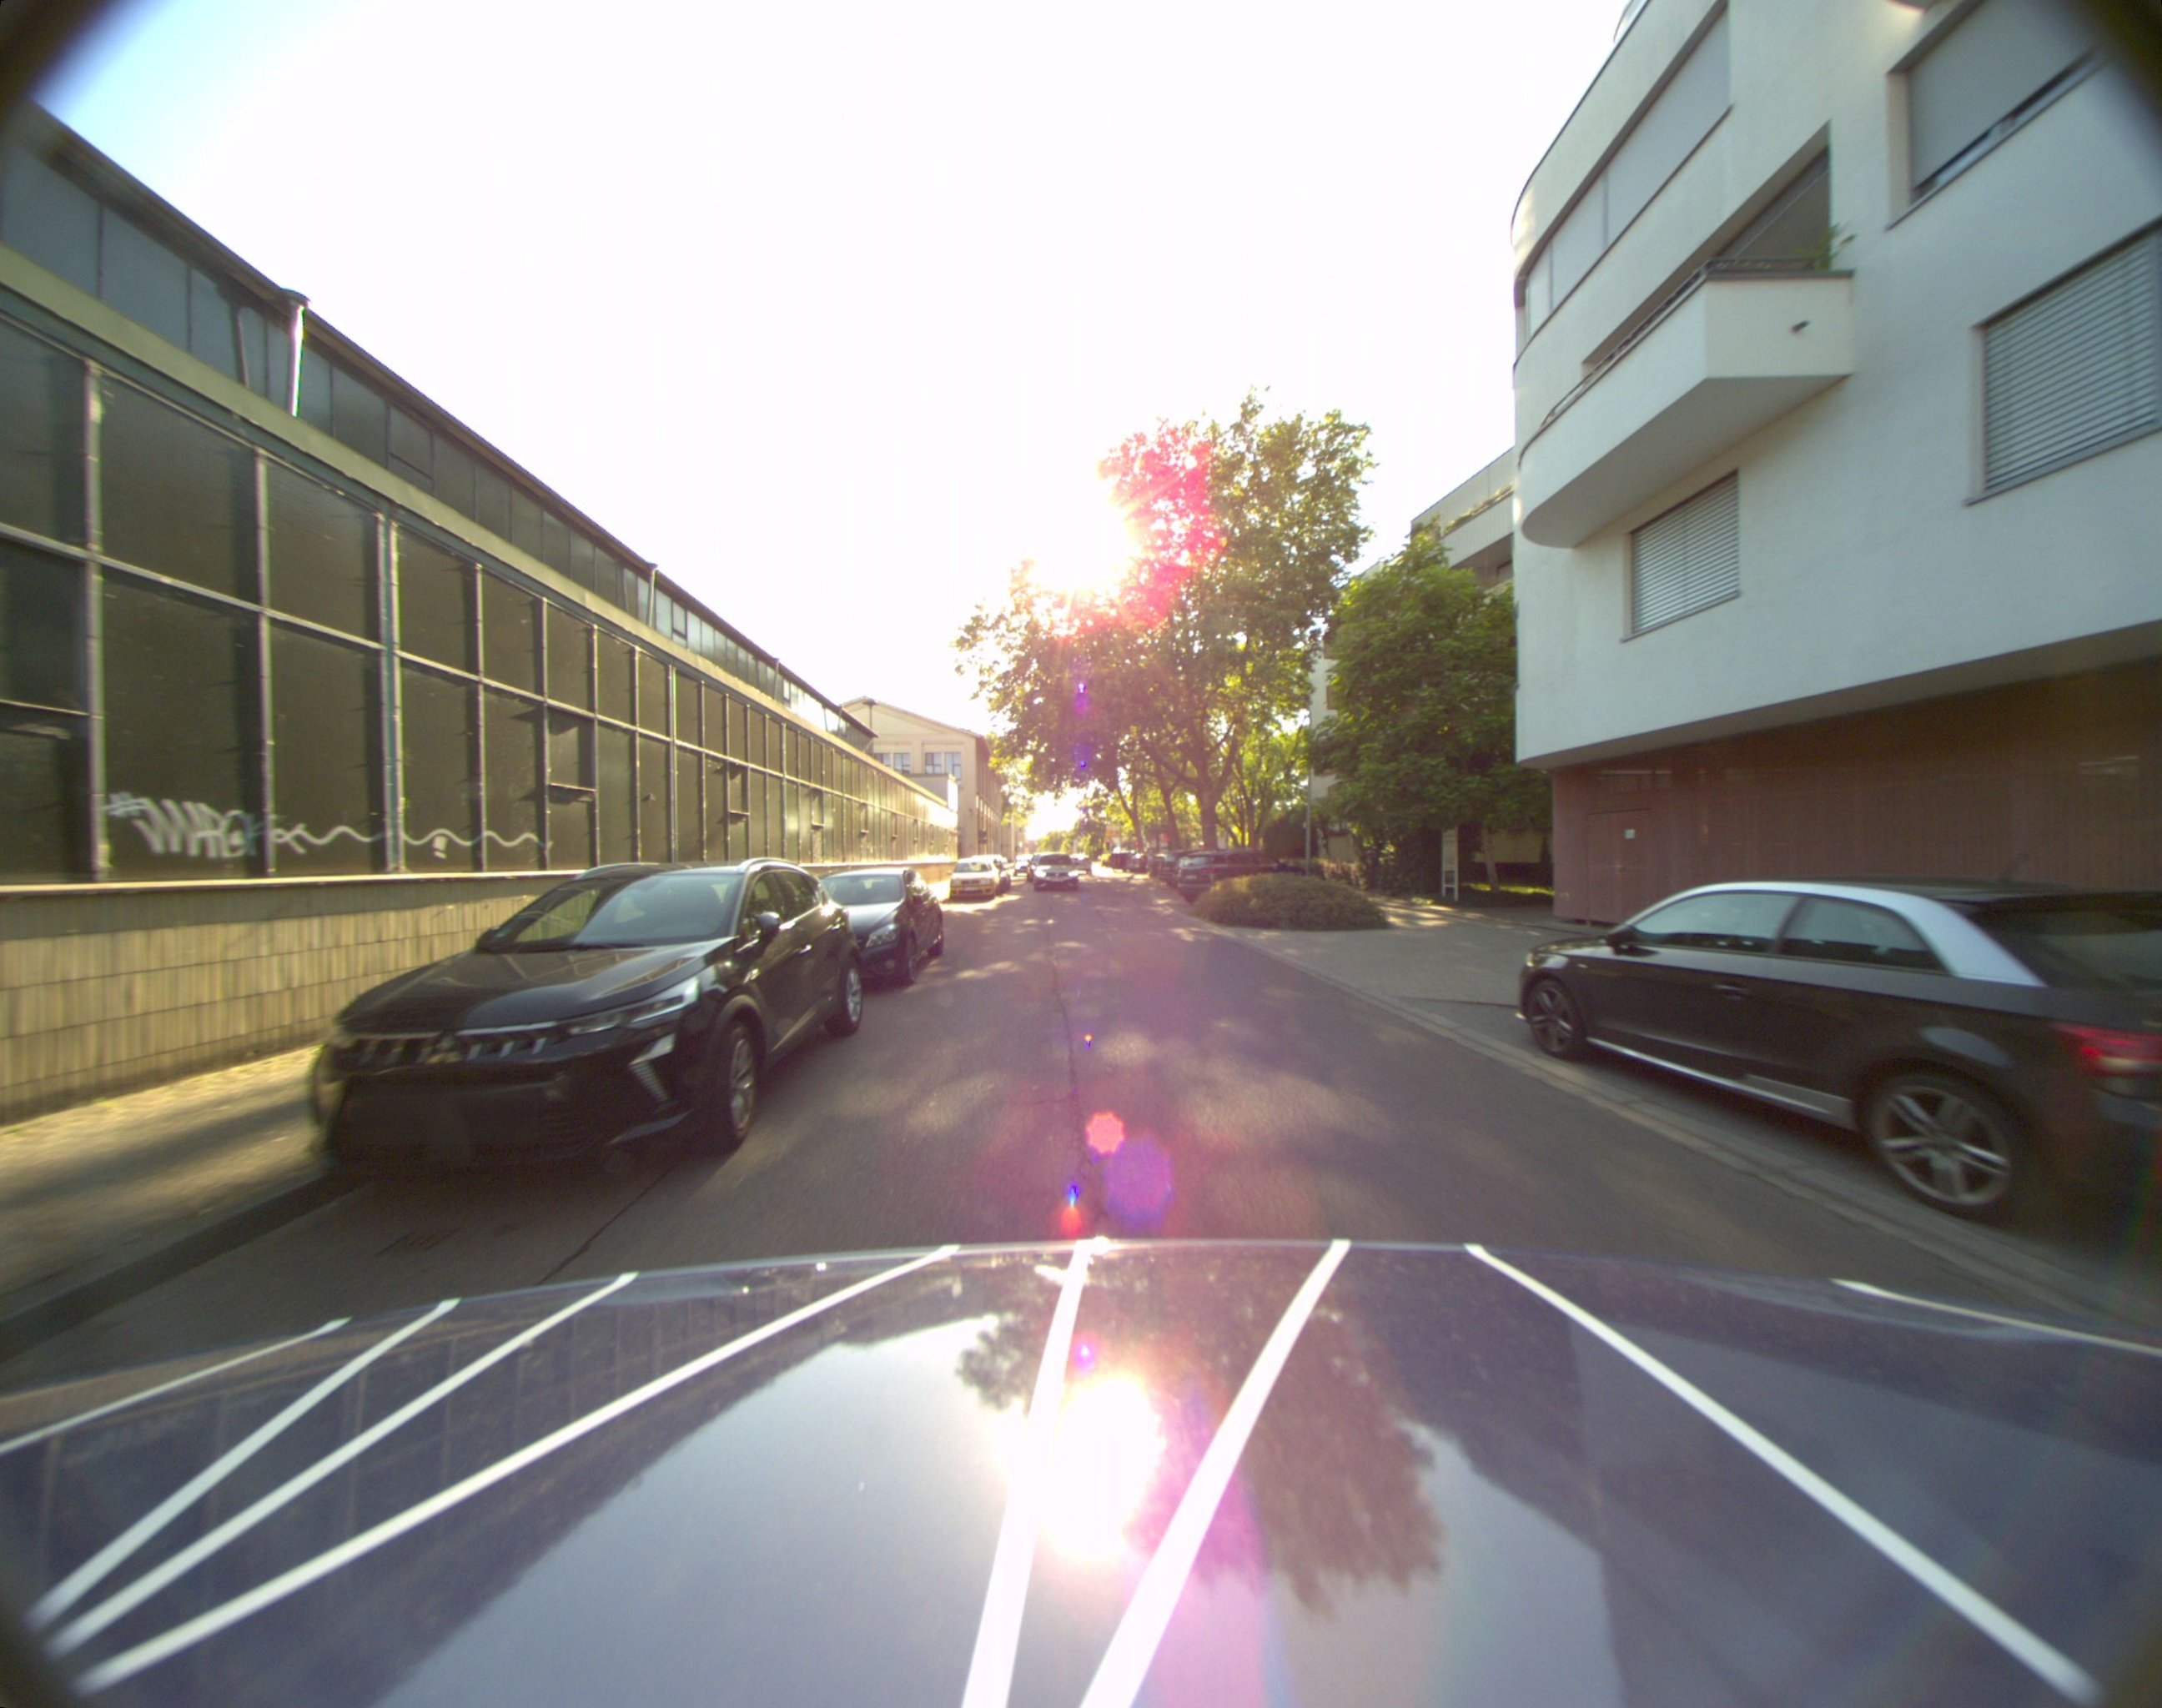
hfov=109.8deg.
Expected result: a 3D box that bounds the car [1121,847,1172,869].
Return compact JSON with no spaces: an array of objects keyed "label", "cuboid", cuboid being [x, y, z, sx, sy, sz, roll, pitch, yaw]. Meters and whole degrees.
[{"label":"car","cuboid":[5.739,0.349,66.358,4.003,1.871,1.831,-1,1,-19]}]

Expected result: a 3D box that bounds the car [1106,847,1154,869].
[{"label":"car","cuboid":[4.440,0.365,68.844,4.006,1.875,1.713,-1,1,-29]}]

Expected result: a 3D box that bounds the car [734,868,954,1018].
[{"label":"car","cuboid":[-2.978,1.016,10.643,1.755,1.482,4.620,-2,0,-2]}]

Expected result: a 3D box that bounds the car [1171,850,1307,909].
[{"label":"car","cuboid":[4.908,0.727,23.479,3.966,1.652,1.696,-1,1,-30]}]

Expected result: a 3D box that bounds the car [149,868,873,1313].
[{"label":"car","cuboid":[-2.828,0.962,5.214,1.812,1.578,4.403,-2,1,-4]}]

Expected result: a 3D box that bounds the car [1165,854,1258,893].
[{"label":"car","cuboid":[5.630,0.788,32.728,3.655,1.551,1.696,-1,1,-28]}]

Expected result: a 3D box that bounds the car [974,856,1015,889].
[{"label":"car","cuboid":[-4.323,0.882,38.388,1.905,1.484,4.526,-1,0,-5]}]

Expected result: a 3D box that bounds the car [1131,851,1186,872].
[{"label":"car","cuboid":[6.209,0.585,61.188,4.003,1.615,1.795,0,0,-17]}]

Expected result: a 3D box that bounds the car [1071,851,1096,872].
[{"label":"car","cuboid":[0.205,0.602,62.215,1.904,1.527,4.621,2,0,1]}]

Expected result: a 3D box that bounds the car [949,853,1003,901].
[{"label":"car","cuboid":[-3.858,0.813,28.494,1.756,1.625,3.999,-1,0,-5]}]

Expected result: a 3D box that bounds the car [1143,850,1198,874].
[{"label":"car","cuboid":[6.461,0.578,54.859,3.655,1.652,1.646,-1,1,-29]}]

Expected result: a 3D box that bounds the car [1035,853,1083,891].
[{"label":"car","cuboid":[-1.036,0.732,33.449,1.855,1.527,3.855,-2,1,-5]}]

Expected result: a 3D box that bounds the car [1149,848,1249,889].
[{"label":"car","cuboid":[5.534,0.623,35.531,4.275,1.765,1.902,-1,1,-25]}]

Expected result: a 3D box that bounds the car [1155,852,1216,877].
[{"label":"car","cuboid":[6.886,0.647,49.896,3.655,1.551,1.705,-1,1,-29]}]

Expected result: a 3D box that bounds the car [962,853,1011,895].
[{"label":"car","cuboid":[-3.994,0.807,32.818,1.755,1.625,4.307,-1,0,-3]}]

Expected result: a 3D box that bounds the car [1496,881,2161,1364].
[{"label":"car","cuboid":[4.356,0.970,4.386,1.679,1.425,3.769,-2,1,-3]}]

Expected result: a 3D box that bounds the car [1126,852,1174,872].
[{"label":"car","cuboid":[5.760,0.669,63.509,3.603,1.551,1.647,-1,1,-21]}]
